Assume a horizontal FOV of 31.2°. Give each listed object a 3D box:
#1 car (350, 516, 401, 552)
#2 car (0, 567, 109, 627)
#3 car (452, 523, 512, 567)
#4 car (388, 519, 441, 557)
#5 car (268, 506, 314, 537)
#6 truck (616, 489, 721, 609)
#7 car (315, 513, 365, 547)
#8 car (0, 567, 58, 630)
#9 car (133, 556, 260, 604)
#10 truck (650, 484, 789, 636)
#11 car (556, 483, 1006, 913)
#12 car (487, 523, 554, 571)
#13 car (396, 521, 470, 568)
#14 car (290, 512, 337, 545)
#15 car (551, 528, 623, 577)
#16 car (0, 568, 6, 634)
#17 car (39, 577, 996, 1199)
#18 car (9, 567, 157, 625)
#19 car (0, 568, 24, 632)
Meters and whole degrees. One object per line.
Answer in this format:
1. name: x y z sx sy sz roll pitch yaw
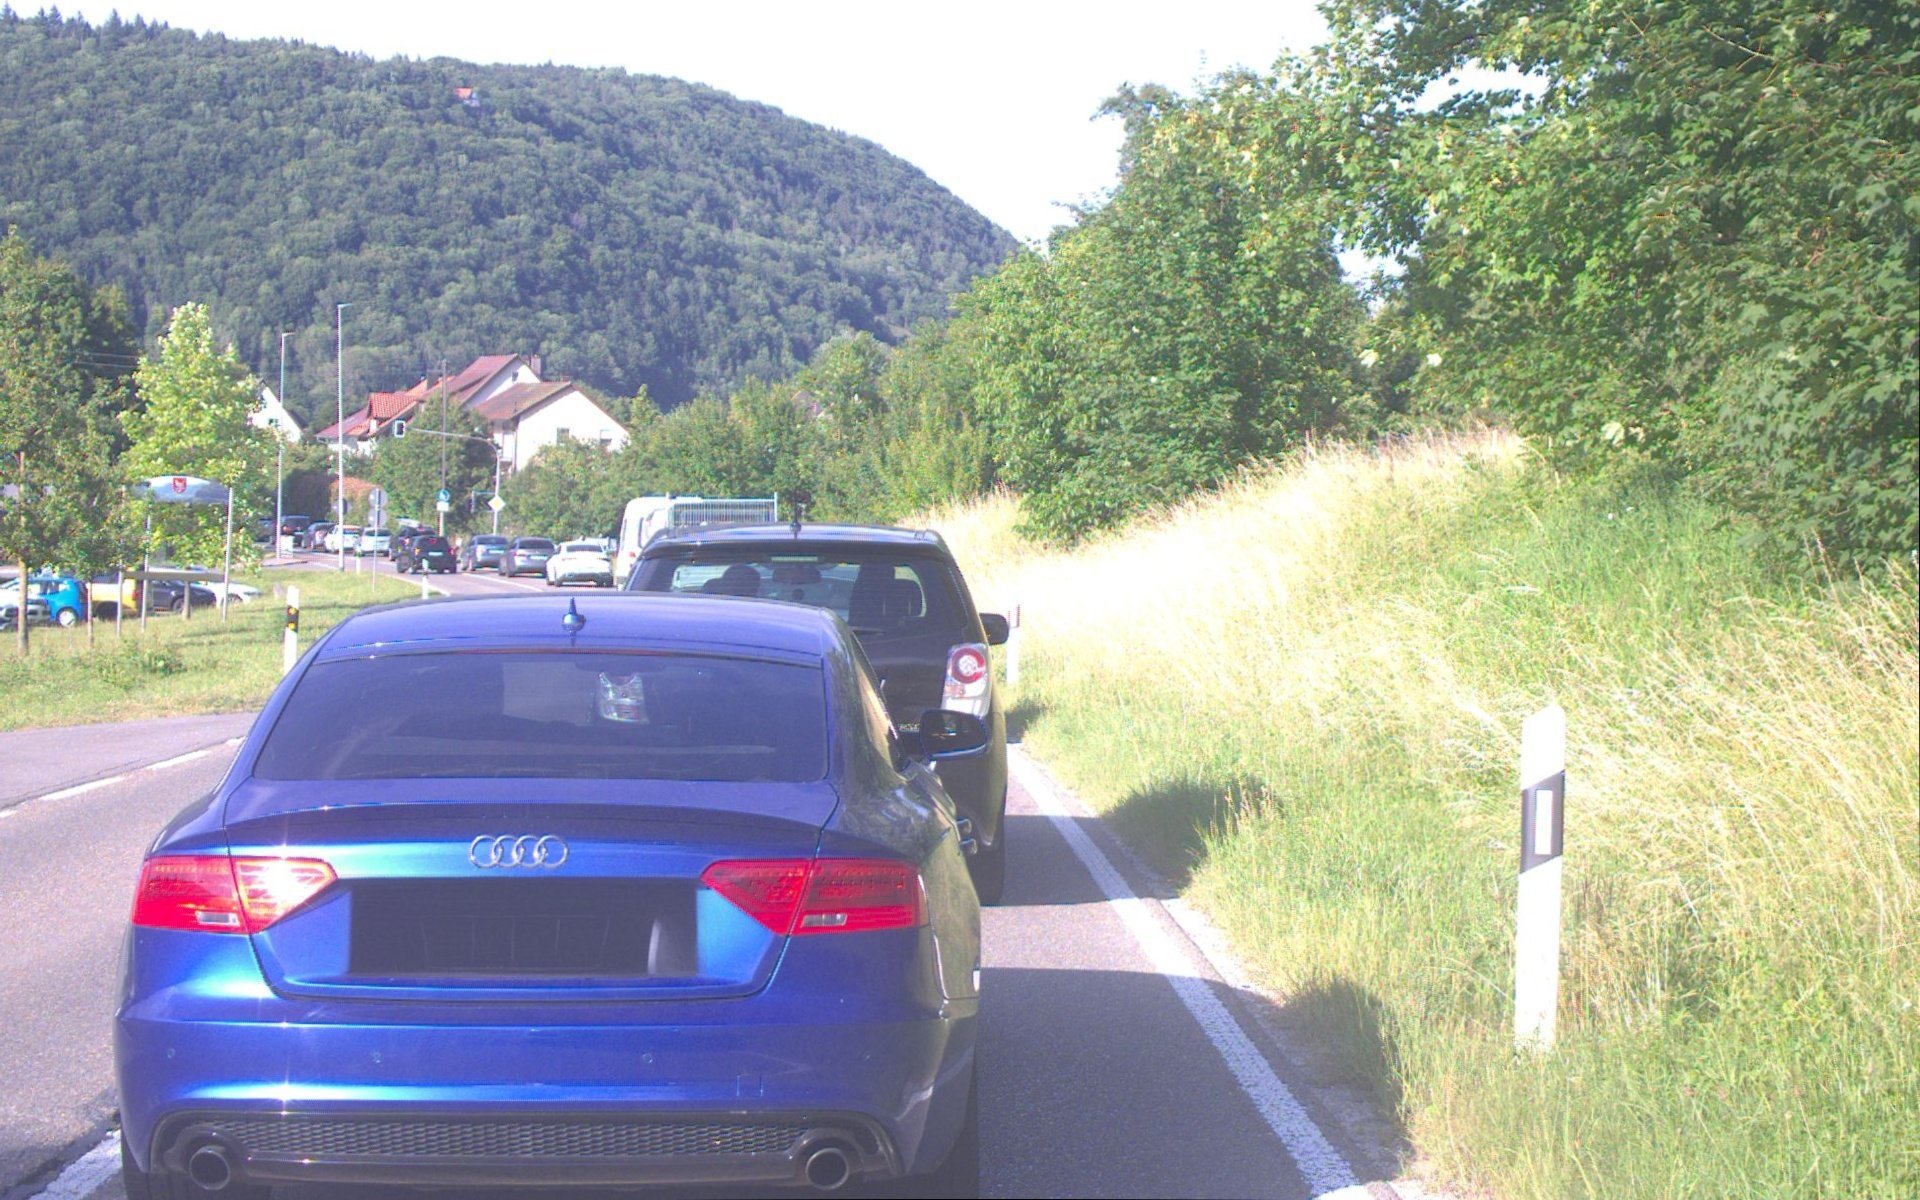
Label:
1. car: -28.860 -3.246 169.638 1.845 1.706 4.001 1 1 -19
2. car: -27.316 -0.113 101.342 3.986 1.705 2.000 1 0 -3
3. car: -18.919 -2.176 135.917 1.845 1.706 4.001 1 0 -15
4. car: -24.764 -2.807 156.017 1.845 1.706 4.001 1 0 -16
5. car: -37.654 -4.407 193.410 1.845 1.706 4.001 1 1 -21
6. truck: -6.587 -1.138 77.721 2.229 2.561 6.709 1 0 -5
7. car: -32.007 -3.605 177.429 1.845 1.706 4.001 1 1 -20
8. car: -27.305 -0.061 95.554 3.986 1.705 2.000 1 0 -3
9. car: -26.316 -0.696 118.577 3.986 1.573 1.753 1 0 -3
10. truck: -4.380 -0.715 61.704 2.229 2.561 6.105 1 0 -6
11. car: -0.697 0.370 15.495 1.754 1.675 3.846 1 0 0
12. car: -15.895 -1.905 124.115 1.845 1.706 4.001 1 0 -15
13. car: -19.967 -2.099 130.154 1.845 1.706 4.001 1 1 -22
14. car: -34.945 -3.865 185.833 1.845 1.706 4.001 1 1 -20
15. car: -11.782 -1.501 108.467 1.845 1.477 4.001 1 0 -12
16. car: -26.846 0.007 88.613 3.986 1.705 2.000 1 0 -3
17. car: -0.809 0.673 8.270 1.754 1.425 3.846 1 0 0
18. car: -26.515 -0.126 104.016 3.986 1.705 2.000 1 0 -3
19. car: -27.368 -0.032 92.270 3.986 1.705 2.000 1 0 -3
